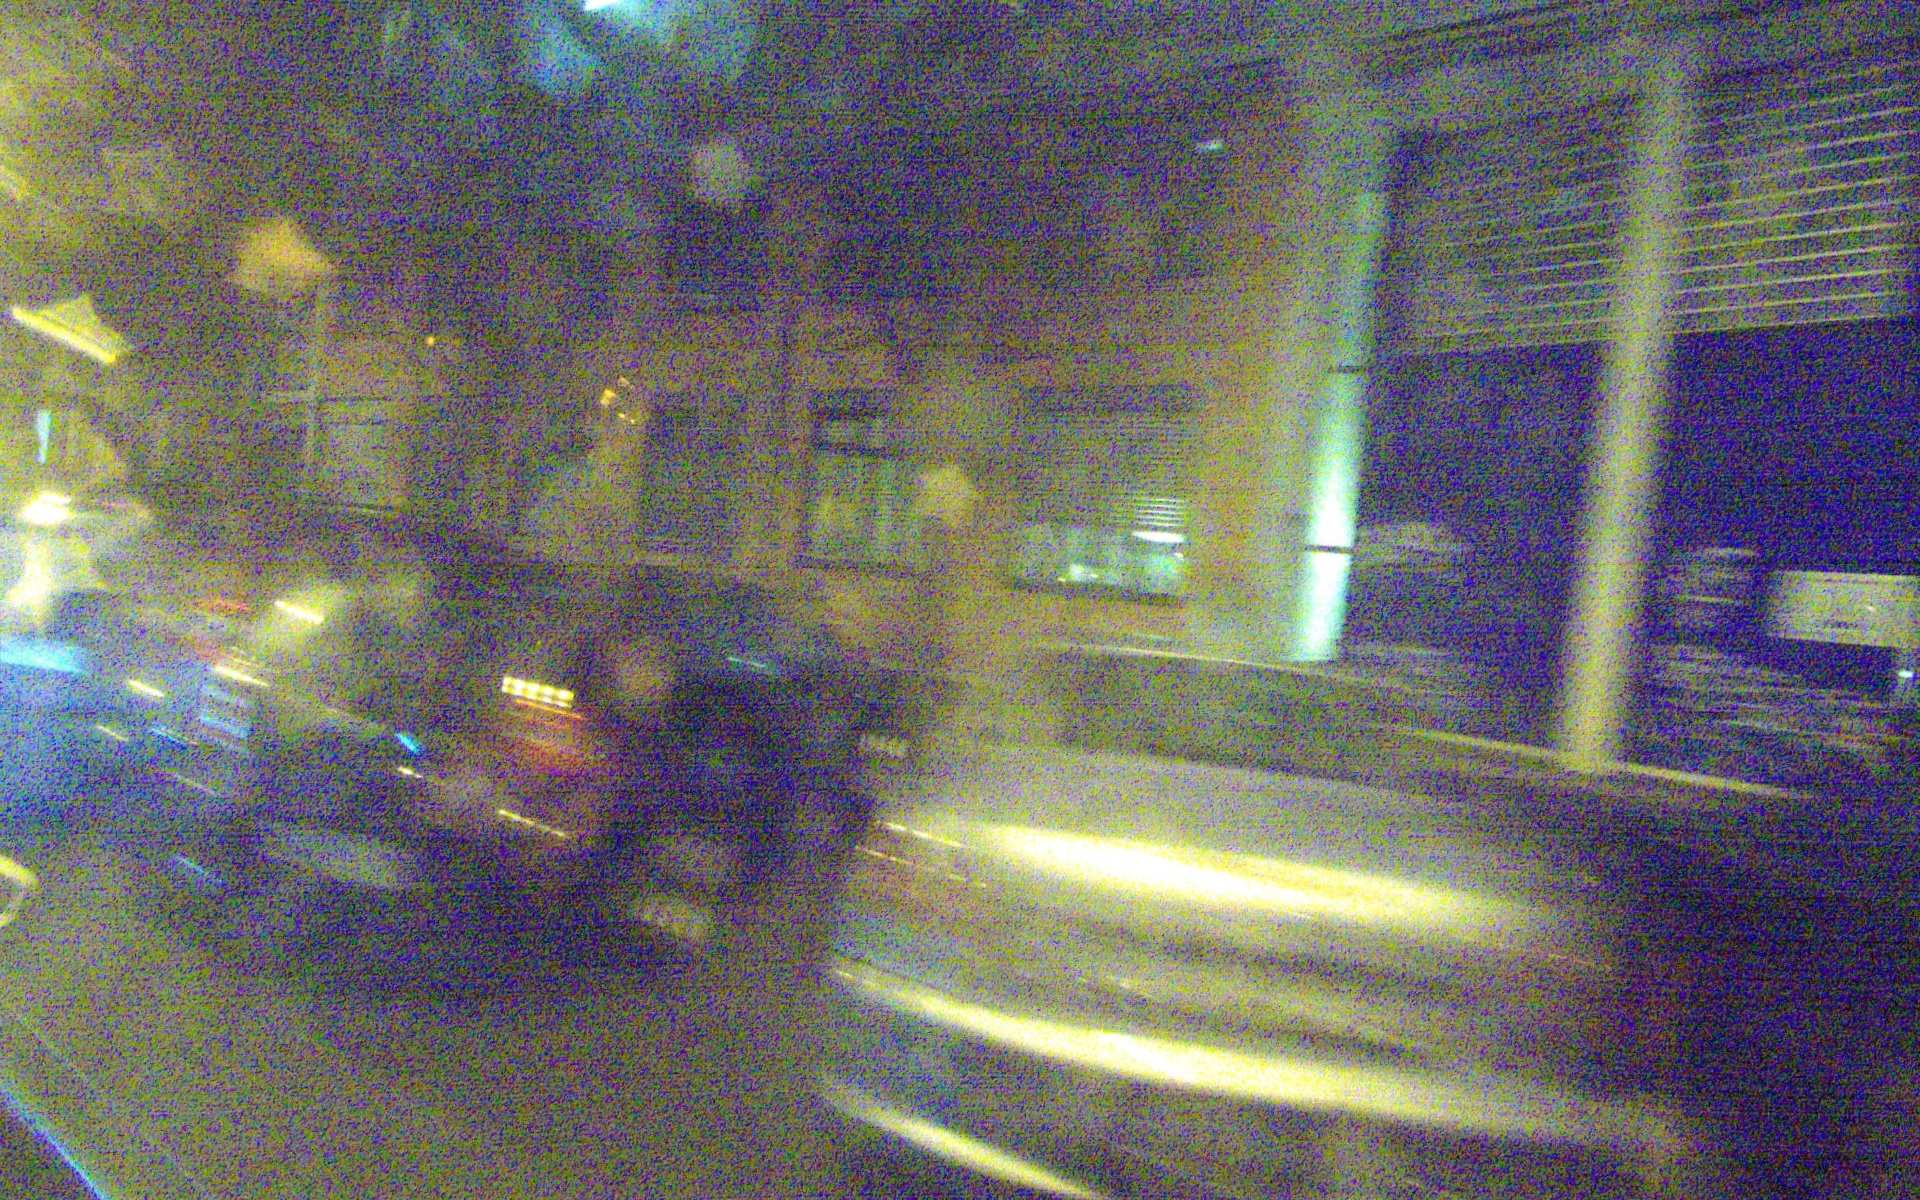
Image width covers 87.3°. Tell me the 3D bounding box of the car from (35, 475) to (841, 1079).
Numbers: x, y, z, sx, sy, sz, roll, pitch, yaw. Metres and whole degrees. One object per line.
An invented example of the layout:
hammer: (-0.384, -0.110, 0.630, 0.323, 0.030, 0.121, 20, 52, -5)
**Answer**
car: (-1.779, 0.550, 4.478, 1.476, 1.570, 3.051, 7, -1, 11)

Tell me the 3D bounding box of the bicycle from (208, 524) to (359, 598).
bicycle: (-10.723, -0.591, 16.026, 0.501, 1.069, 1.973, 6, 3, 25)

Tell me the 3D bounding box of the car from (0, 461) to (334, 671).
car: (-8.168, -0.320, 9.185, 1.809, 1.630, 4.066, 7, -1, 9)

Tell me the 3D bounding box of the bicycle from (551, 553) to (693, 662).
bicycle: (-3.988, 0.077, 11.989, 0.532, 1.162, 1.687, 7, 3, 24)

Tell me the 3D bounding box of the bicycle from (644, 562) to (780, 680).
bicycle: (-2.665, 0.208, 11.005, 0.421, 1.162, 1.687, 7, 3, 24)

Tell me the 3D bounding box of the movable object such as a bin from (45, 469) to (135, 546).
movable object such as a bin: (-18.208, -1.922, 21.069, 0.982, 1.472, 1.208, 7, 5, 32)

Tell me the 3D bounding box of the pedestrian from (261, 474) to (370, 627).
pedestrian: (-8.278, -0.642, 12.939, 0.931, 1.862, 0.838, 5, 5, 28)

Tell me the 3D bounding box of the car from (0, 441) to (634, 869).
car: (-3.671, 0.238, 5.912, 1.680, 1.630, 3.568, 7, -1, 11)

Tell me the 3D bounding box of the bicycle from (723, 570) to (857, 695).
bicycle: (-1.720, 0.309, 10.442, 0.421, 1.162, 1.687, 7, 3, 24)

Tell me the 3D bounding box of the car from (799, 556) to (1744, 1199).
car: (0.757, 0.742, 3.764, 1.625, 1.543, 3.711, 6, 2, 7)

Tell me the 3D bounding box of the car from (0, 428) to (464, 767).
car: (-5.716, -0.048, 7.086, 1.823, 1.785, 4.110, 7, -1, 8)

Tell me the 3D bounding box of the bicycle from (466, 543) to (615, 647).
bicycle: (-5.254, -0.066, 12.701, 0.653, 1.162, 1.687, 7, 3, 24)

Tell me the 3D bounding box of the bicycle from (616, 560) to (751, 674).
bicycle: (-3.087, 0.177, 11.398, 0.421, 1.162, 1.687, 7, 3, 24)

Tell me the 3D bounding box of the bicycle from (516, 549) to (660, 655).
bicycle: (-4.535, 0.019, 12.374, 0.586, 1.162, 1.687, 7, 3, 24)

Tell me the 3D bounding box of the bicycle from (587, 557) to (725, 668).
bicycle: (-3.499, 0.133, 11.727, 0.477, 1.162, 1.687, 7, 3, 24)

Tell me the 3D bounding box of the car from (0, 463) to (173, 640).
car: (-10.379, -0.579, 10.237, 1.710, 1.749, 3.802, 7, -1, -3)

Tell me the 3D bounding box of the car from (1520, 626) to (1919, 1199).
car: (2.906, 0.972, 2.102, 1.625, 1.543, 3.711, 6, 2, 7)

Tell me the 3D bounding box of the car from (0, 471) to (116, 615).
car: (-12.571, -0.807, 11.996, 1.685, 1.749, 3.775, 7, -1, -1)

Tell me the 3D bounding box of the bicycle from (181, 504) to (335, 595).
bicycle: (-11.812, -0.825, 16.976, 0.771, 1.353, 1.968, 7, 3, 38)

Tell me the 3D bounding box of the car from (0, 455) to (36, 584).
car: (-14.881, -1.210, 13.196, 1.685, 1.883, 4.242, 5, 2, -3)
